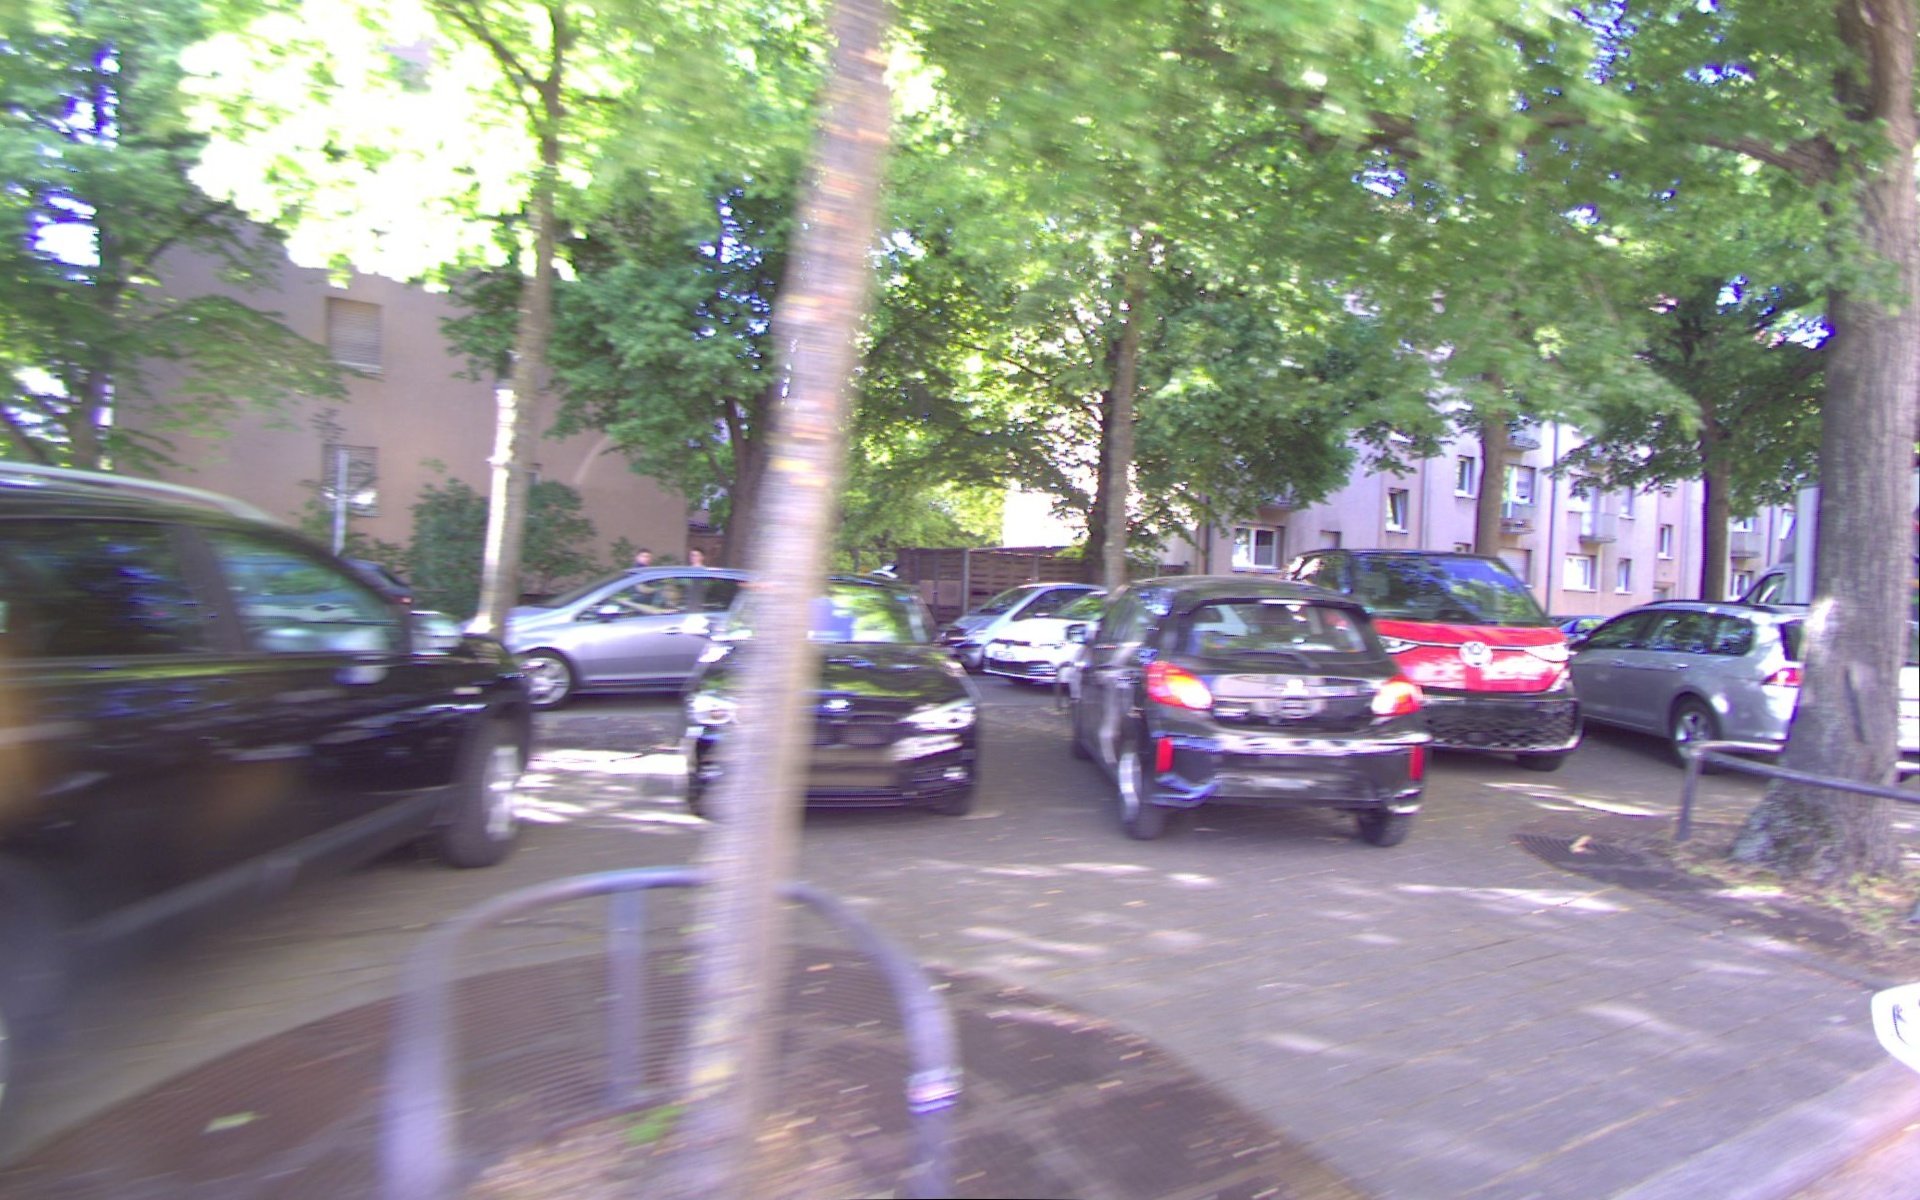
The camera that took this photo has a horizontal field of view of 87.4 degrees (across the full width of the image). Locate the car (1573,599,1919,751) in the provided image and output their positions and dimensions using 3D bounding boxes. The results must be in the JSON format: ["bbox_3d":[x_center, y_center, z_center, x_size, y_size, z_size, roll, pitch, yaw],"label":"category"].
[{"bbox_3d":[9.990,0.807,12.911,1.777,1.527,4.345,2,1,5],"label":"car"}]

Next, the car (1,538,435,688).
[{"bbox_3d":[-8.523,0.161,12.015,3.902,1.531,1.746,2,1,-30],"label":"car"}]

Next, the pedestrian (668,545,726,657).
[{"bbox_3d":[-4.283,0.012,16.372,0.727,1.759,0.540,2,1,4],"label":"pedestrian"}]

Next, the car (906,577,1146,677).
[{"bbox_3d":[1.190,0.479,17.869,3.901,1.590,1.746,2,1,-29],"label":"car"}]

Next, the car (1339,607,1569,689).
[{"bbox_3d":[9.015,0.858,18.215,4.366,1.312,1.754,2,-1,-33],"label":"car"}]

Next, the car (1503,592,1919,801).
[{"bbox_3d":[7.259,0.729,9.812,1.777,1.527,4.345,2,1,5],"label":"car"}]

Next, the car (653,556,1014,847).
[{"bbox_3d":[-0.798,0.497,7.124,1.787,1.441,3.946,2,1,-5],"label":"car"}]

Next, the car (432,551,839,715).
[{"bbox_3d":[-3.494,0.318,11.091,3.911,1.506,1.741,2,1,-36],"label":"car"}]

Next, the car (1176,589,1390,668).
[{"bbox_3d":[6.774,0.603,20.978,4.291,1.454,1.756,2,1,-29],"label":"car"}]

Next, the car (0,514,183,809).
[{"bbox_3d":[-6.164,0.314,4.972,1.887,1.632,3.994,2,0,-8],"label":"car"}]

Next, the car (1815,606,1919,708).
[{"bbox_3d":[15.679,0.942,15.363,1.811,1.523,4.000,3,1,2],"label":"car"}]

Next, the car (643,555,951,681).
[{"bbox_3d":[-2.405,0.273,15.101,4.198,1.662,1.745,2,1,-31],"label":"car"}]

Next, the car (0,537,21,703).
[{"bbox_3d":[-10.531,0.137,7.871,4.248,1.539,1.894,2,1,-29],"label":"car"}]

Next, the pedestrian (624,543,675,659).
[{"bbox_3d":[-4.828,0.012,15.600,0.534,1.759,0.735,1,1,-33],"label":"pedestrian"}]

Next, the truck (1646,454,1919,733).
[{"bbox_3d":[12.772,-0.052,13.283,2.496,3.338,7.327,2,0,2],"label":"truck"}]

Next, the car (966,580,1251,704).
[{"bbox_3d":[2.185,0.558,14.382,3.911,1.506,1.741,2,1,-36],"label":"car"}]

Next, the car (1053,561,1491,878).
[{"bbox_3d":[1.716,0.567,6.868,1.727,1.500,3.823,2,1,0],"label":"car"}]

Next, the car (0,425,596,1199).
[{"bbox_3d":[-2.907,0.392,3.249,1.801,1.694,4.336,2,3,1],"label":"car"}]

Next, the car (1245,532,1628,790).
[{"bbox_3d":[4.283,0.435,9.973,1.897,1.898,4.504,2,1,5],"label":"car"}]
